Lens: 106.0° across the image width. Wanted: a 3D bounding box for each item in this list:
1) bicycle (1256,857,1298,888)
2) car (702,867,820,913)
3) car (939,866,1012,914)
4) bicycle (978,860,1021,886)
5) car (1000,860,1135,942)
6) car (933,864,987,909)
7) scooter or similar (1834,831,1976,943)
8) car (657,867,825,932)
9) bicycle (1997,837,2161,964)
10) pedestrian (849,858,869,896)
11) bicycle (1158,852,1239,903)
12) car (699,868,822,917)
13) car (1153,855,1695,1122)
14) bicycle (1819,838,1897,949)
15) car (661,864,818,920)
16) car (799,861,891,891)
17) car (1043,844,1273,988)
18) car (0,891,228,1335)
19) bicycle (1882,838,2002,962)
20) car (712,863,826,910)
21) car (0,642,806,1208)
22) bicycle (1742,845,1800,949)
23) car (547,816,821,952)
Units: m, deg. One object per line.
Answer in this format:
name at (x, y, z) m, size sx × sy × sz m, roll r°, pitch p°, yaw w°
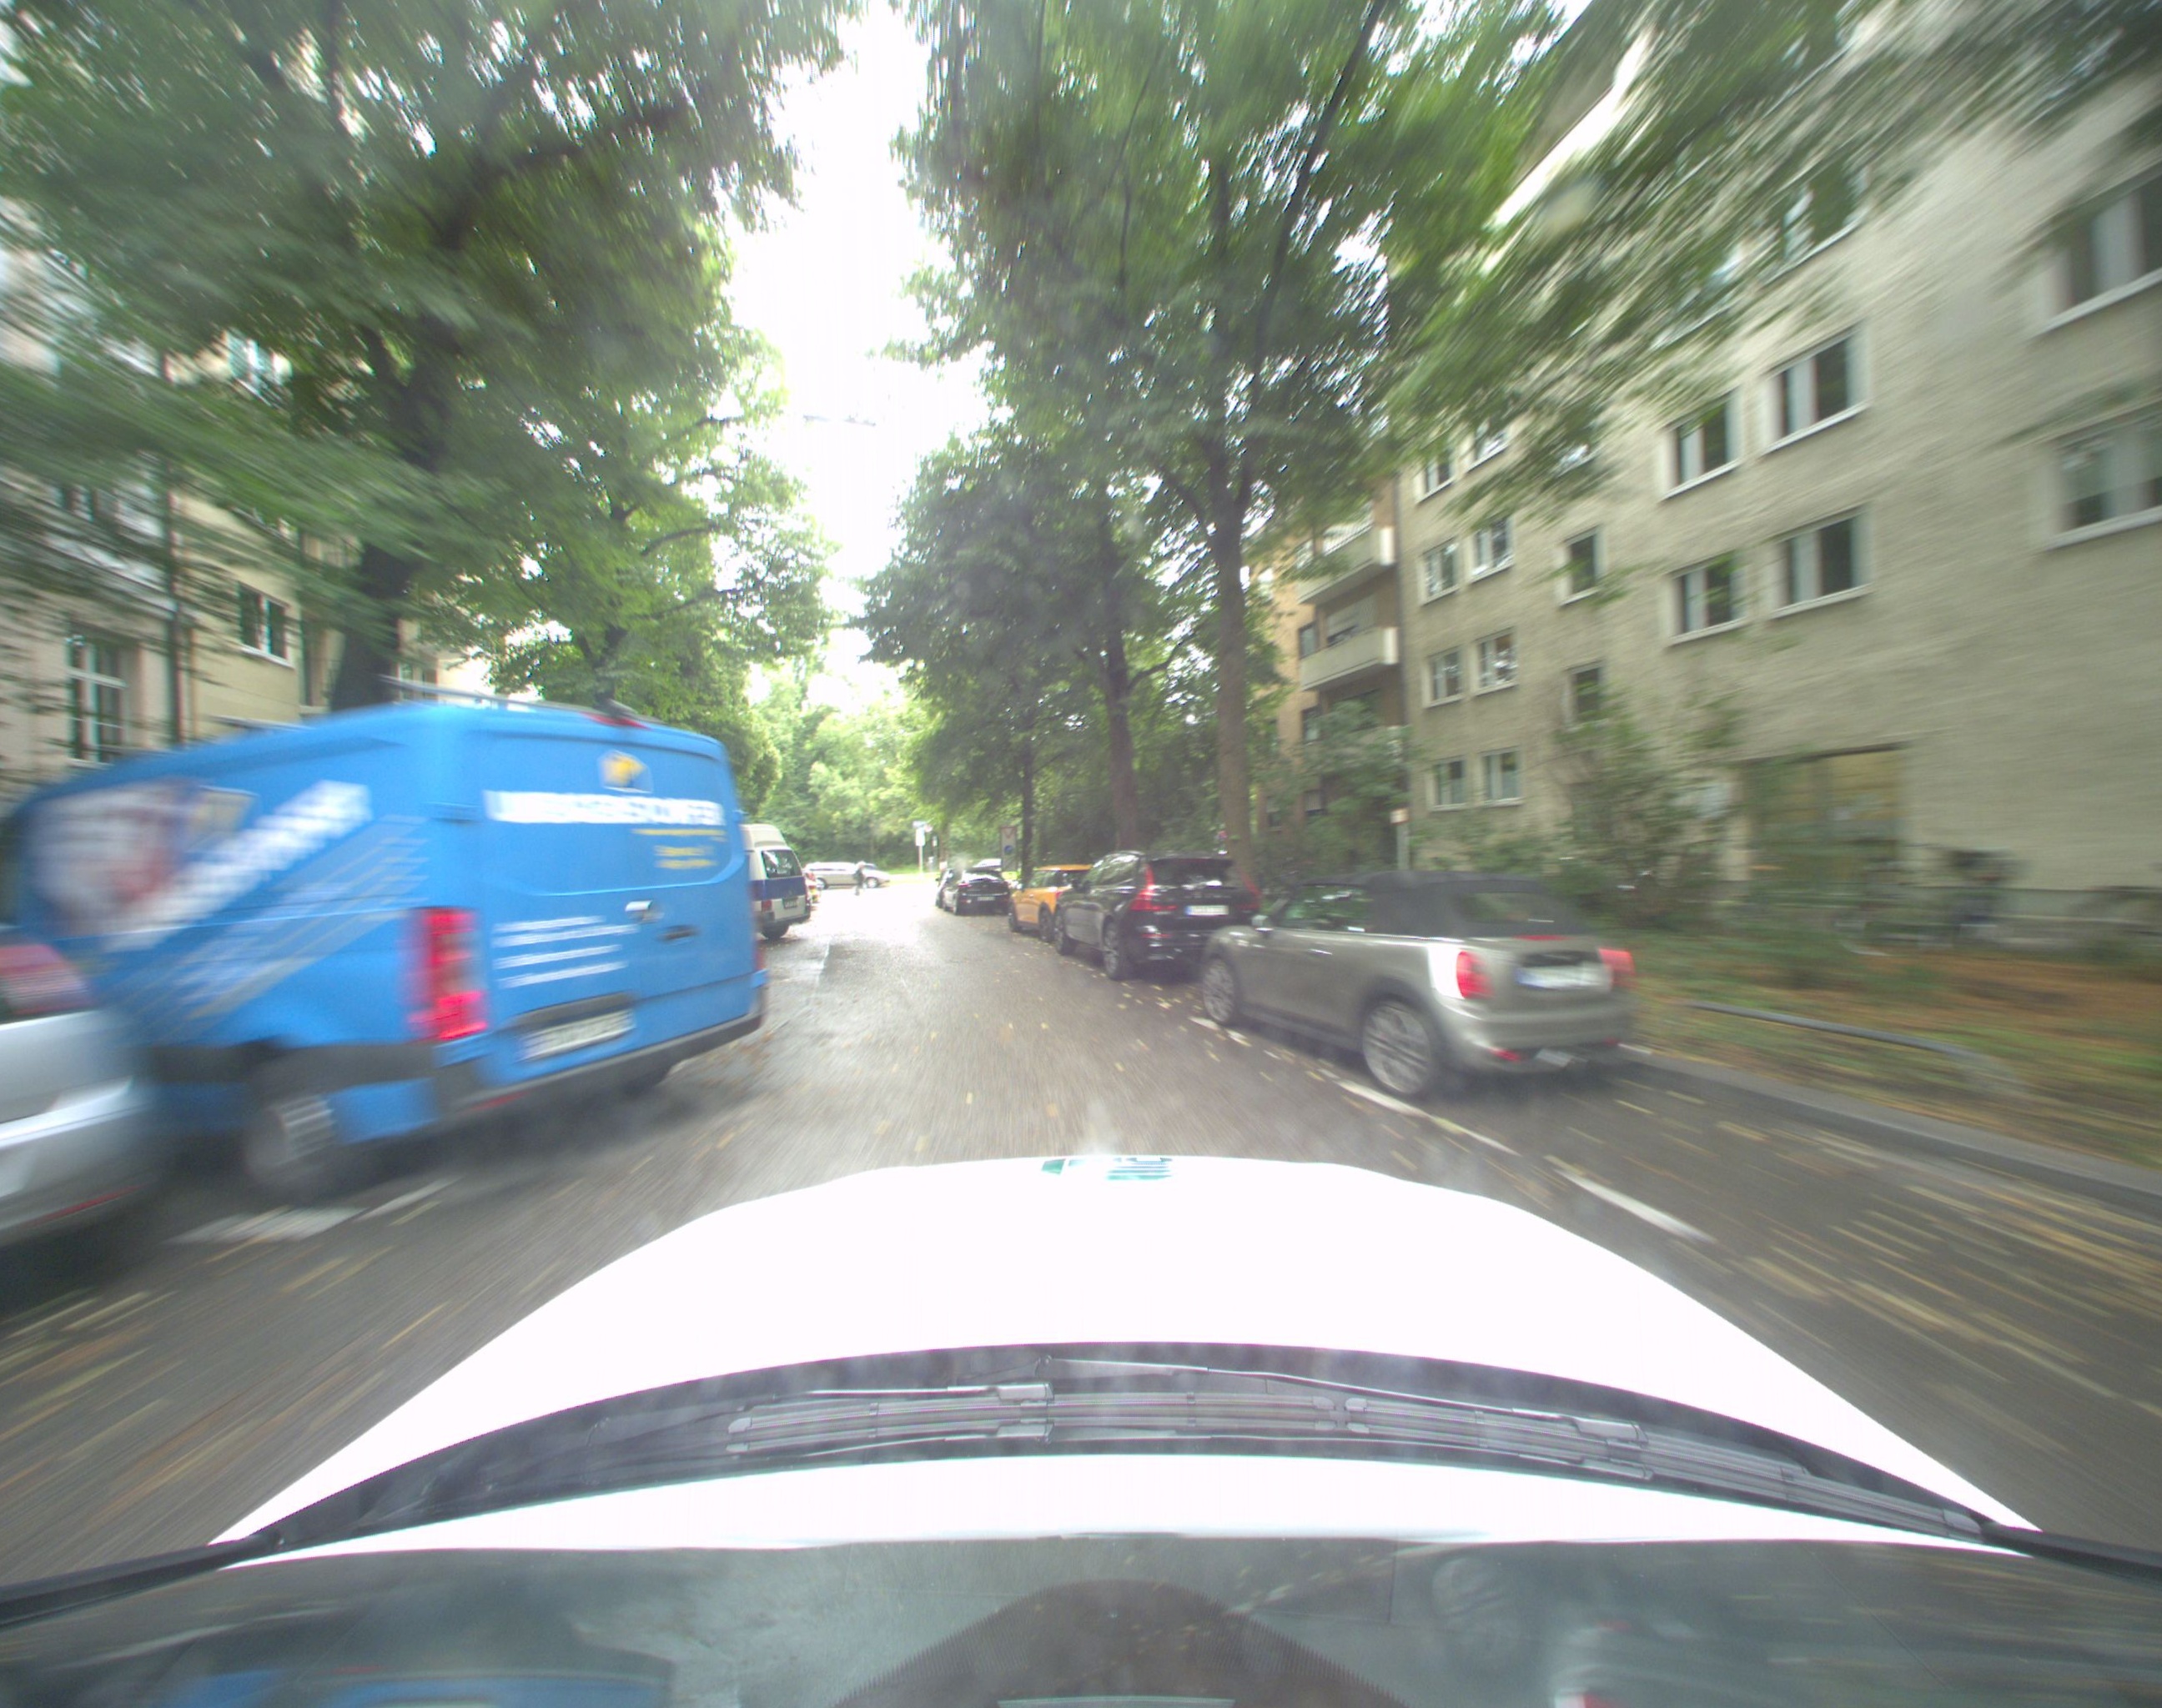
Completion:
bicycle at (6.933, 0.646, 28.950) m, size 0.555 × 1.044 × 1.825 m, roll -2°, pitch 0°, yaw -18°
car at (-12.235, 1.361, 31.395) m, size 3.996 × 1.464 × 1.726 m, roll -3°, pitch 1°, yaw -17°
car at (-3.441, 1.089, 25.981) m, size 1.685 × 1.358 × 3.986 m, roll -1°, pitch 0°, yaw -16°
bicycle at (-3.385, 0.786, 33.879) m, size 1.750 × 0.982 × 0.272 m, roll -2°, pitch 0°, yaw -8°
car at (-0.403, 0.861, 16.668) m, size 1.623 × 1.412 × 3.755 m, roll -2°, pitch 0°, yaw -20°
car at (-4.532, 1.145, 30.071) m, size 1.650 × 1.474 × 3.626 m, roll -2°, pitch 0°, yaw -13°
scooter or similar at (9.840, 0.376, 9.764) m, size 0.384 × 1.252 × 1.130 m, roll -1°, pitch 0°, yaw -16°
car at (-9.147, 1.188, 22.273) m, size 3.996 × 1.433 × 1.726 m, roll -3°, pitch 0°, yaw -17°
bicycle at (9.678, 0.408, 7.378) m, size 0.446 × 1.124 × 1.756 m, roll -1°, pitch 0°, yaw -26°
pedestrian at (-9.810, 1.027, 36.062) m, size 0.780 × 1.617 × 0.757 m, roll -2°, pitch 2°, yaw -14°
bicycle at (2.758, 0.532, 19.119) m, size 1.838 × 1.083 × 0.543 m, roll -2°, pitch 0°, yaw -24°
car at (-11.342, 1.329, 29.097) m, size 3.889 × 1.441 × 1.730 m, roll -3°, pitch 0°, yaw -18°
car at (2.339, 0.799, 7.008) m, size 1.903 × 1.413 × 4.404 m, roll -3°, pitch 0°, yaw -16°
bicycle at (8.631, 0.389, 9.086) m, size 0.440 × 1.124 × 1.783 m, roll -2°, pitch 0°, yaw 38°
car at (-11.164, 1.219, 26.927) m, size 4.450 × 1.596 × 1.828 m, roll -2°, pitch 0°, yaw -11°
car at (-13.200, 1.229, 45.845) m, size 4.803 × 1.495 × 1.835 m, roll -2°, pitch 0°, yaw -11°
car at (0.850, 0.727, 11.830) m, size 1.835 × 1.629 × 4.501 m, roll -2°, pitch 0°, yaw -15°
car at (-5.330, 0.968, 3.024) m, size 3.512 × 1.433 × 1.652 m, roll -4°, pitch -1°, yaw 20°
bicycle at (8.789, 0.420, 8.290) m, size 1.955 × 1.124 × 0.441 m, roll -2°, pitch 0°, yaw -32°
car at (-12.777, 1.298, 33.605) m, size 4.172 × 1.601 × 1.726 m, roll -3°, pitch 2°, yaw -17°
car at (-4.781, 0.475, 5.246) m, size 5.432 × 2.354 × 2.076 m, roll -4°, pitch -1°, yaw 19°
bicycle at (8.264, 0.469, 9.793) m, size 0.440 × 1.124 × 1.783 m, roll -2°, pitch 0°, yaw 38°
car at (-7.921, 0.590, 16.503) m, size 4.545 × 2.377 × 1.908 m, roll -3°, pitch 0°, yaw 6°
